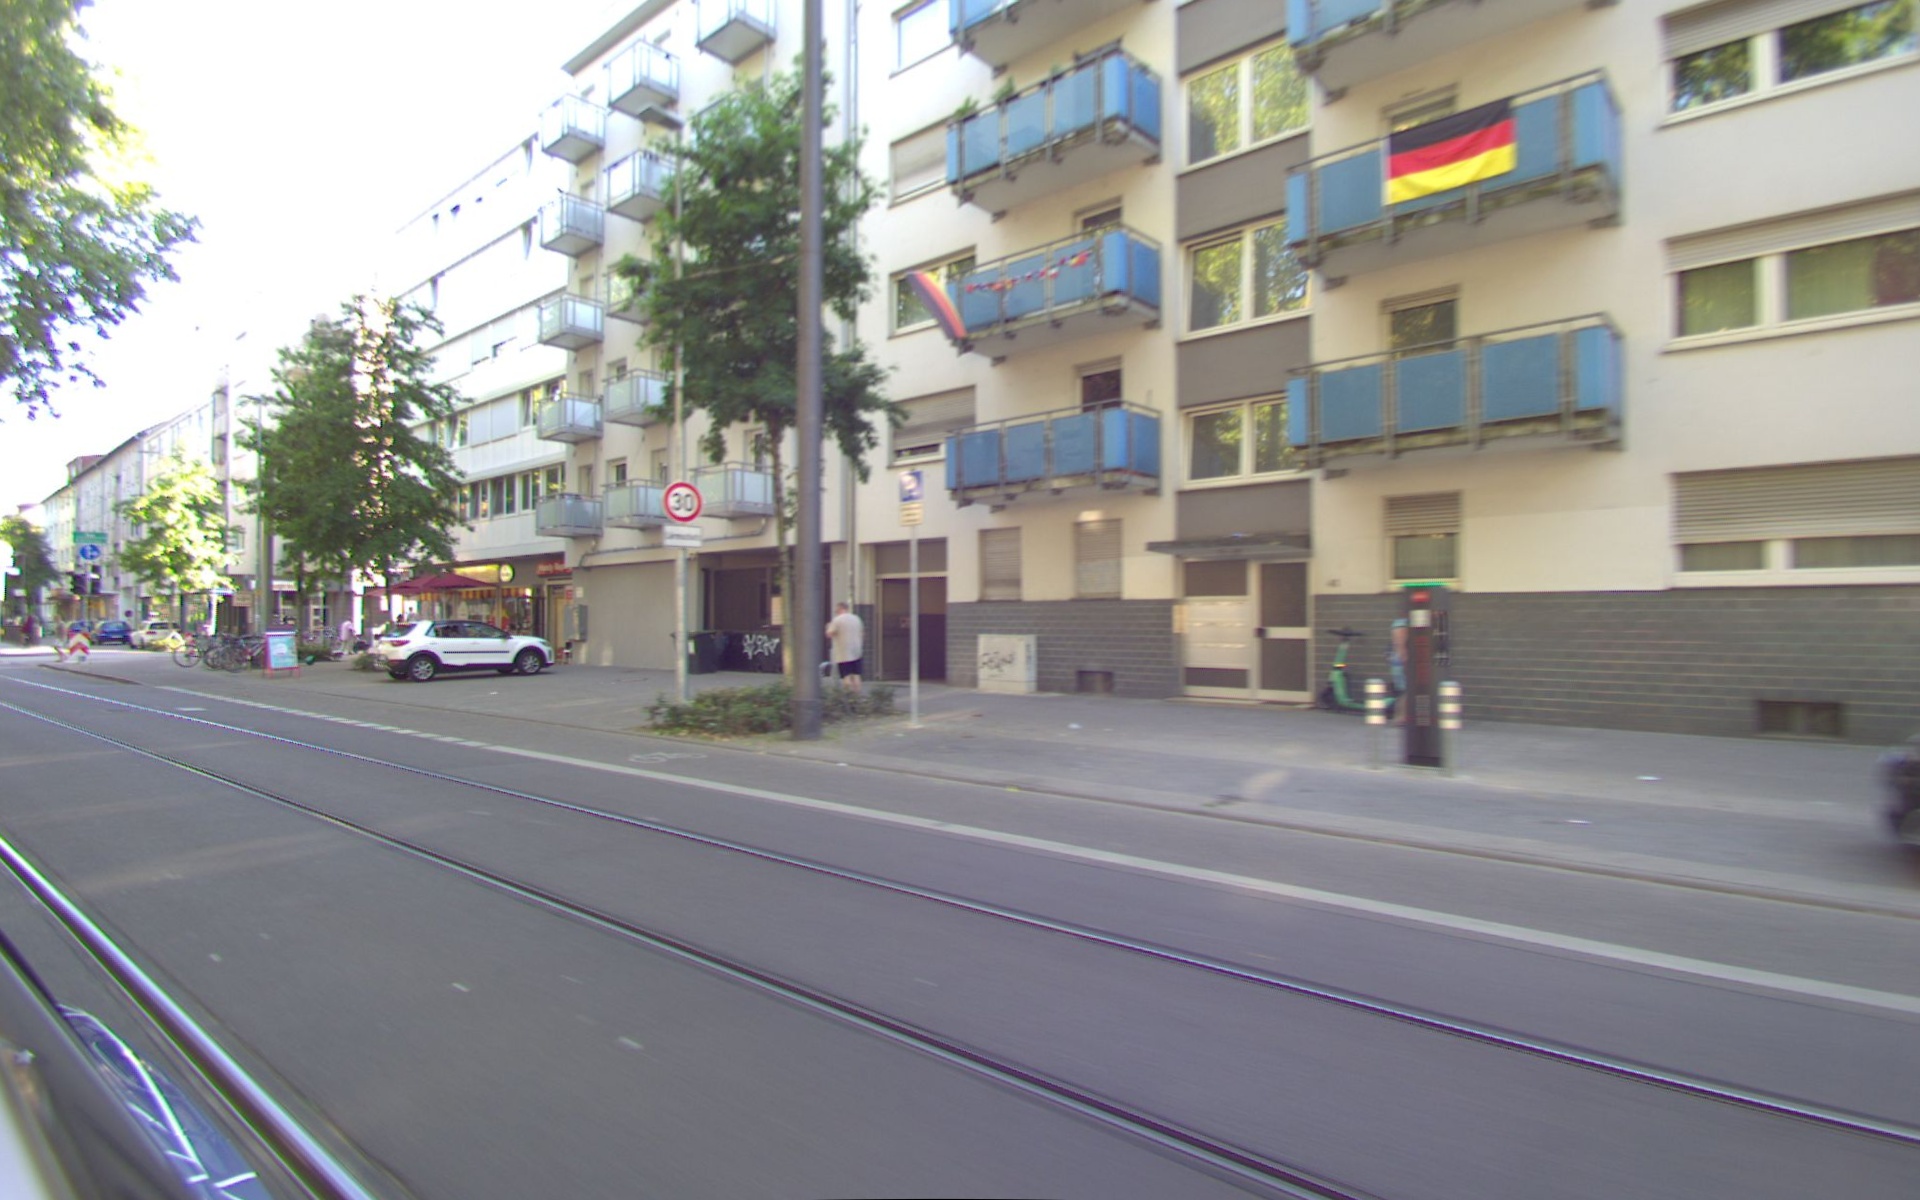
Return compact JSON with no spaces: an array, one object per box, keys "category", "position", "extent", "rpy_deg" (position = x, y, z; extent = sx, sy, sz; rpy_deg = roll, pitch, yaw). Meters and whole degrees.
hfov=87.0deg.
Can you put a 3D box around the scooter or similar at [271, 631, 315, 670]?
[{"category":"scooter or similar","position":[-20.933,1.581,31.766],"extent":[0.498,1.185,1.068],"rpy_deg":[-1,-1,40]}]

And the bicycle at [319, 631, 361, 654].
[{"category":"bicycle","position":[-31.365,2.138,51.186],"extent":[1.760,1.165,0.573],"rpy_deg":[2,-2,-37]}]

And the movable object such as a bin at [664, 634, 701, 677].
[{"category":"movable object such as a bin","position":[-6.885,1.369,25.103],"extent":[0.622,1.063,0.670],"rpy_deg":[-2,-3,43]}]

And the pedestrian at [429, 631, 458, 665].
[{"category":"pedestrian","position":[-18.433,1.709,36.101],"extent":[0.684,1.207,0.601],"rpy_deg":[0,-2,7]}]

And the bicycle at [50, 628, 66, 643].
[{"category":"bicycle","position":[-75.142,2.957,84.320],"extent":[2.034,1.165,0.565],"rpy_deg":[-1,-3,37]}]

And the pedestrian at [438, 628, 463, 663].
[{"category":"pedestrian","position":[-17.847,1.581,35.460],"extent":[0.558,1.207,0.511],"rpy_deg":[0,-2,13]}]

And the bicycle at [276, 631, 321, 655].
[{"category":"bicycle","position":[-32.339,2.102,49.485],"extent":[1.759,1.165,0.574],"rpy_deg":[1,-2,-17]}]

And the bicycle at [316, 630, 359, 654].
[{"category":"bicycle","position":[-31.820,2.137,51.746],"extent":[0.571,1.165,1.768],"rpy_deg":[-1,-2,35]}]

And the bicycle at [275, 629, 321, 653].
[{"category":"bicycle","position":[-32.857,2.015,50.264],"extent":[1.836,1.165,0.572],"rpy_deg":[2,-3,-44]}]

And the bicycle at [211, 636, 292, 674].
[{"category":"bicycle","position":[-20.579,1.588,29.416],"extent":[0.657,1.015,1.812],"rpy_deg":[-1,-1,37]}]

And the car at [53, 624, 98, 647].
[{"category":"car","position":[-59.770,2.404,68.389],"extent":[4.281,1.475,1.775],"rpy_deg":[-1,-3,42]}]

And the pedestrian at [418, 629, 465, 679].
[{"category":"pedestrian","position":[-13.864,1.428,27.072],"extent":[0.907,1.307,0.707],"rpy_deg":[-1,-2,28]}]

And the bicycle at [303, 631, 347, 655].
[{"category":"bicycle","position":[-31.466,2.117,50.185],"extent":[1.759,1.165,0.574],"rpy_deg":[1,-2,-17]}]

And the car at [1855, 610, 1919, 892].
[{"category":"car","position":[7.325,0.808,5.113],"extent":[3.991,1.475,1.699],"rpy_deg":[-1,1,35]}]

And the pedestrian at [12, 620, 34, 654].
[{"category":"pedestrian","position":[-44.488,1.744,48.054],"extent":[0.772,1.597,0.647],"rpy_deg":[-1,-2,42]}]

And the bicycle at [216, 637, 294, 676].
[{"category":"bicycle","position":[-19.722,1.555,28.345],"extent":[0.657,1.015,1.675],"rpy_deg":[-1,-1,37]}]

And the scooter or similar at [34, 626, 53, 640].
[{"category":"scooter or similar","position":[-77.959,2.796,86.063],"extent":[1.259,1.183,0.445],"rpy_deg":[0,-2,6]}]

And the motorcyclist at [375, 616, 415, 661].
[{"category":"motorcyclist","position":[-18.842,1.279,33.751],"extent":[1.016,1.452,0.863],"rpy_deg":[-2,-3,44]}]

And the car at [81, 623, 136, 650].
[{"category":"car","position":[-51.322,2.176,61.000],"extent":[4.388,1.556,1.935],"rpy_deg":[-1,-3,42]}]

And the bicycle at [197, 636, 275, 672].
[{"category":"bicycle","position":[-21.879,1.607,30.629],"extent":[0.657,1.015,1.812],"rpy_deg":[-1,-1,37]}]

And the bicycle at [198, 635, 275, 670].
[{"category":"bicycle","position":[-22.146,1.591,30.993],"extent":[0.657,1.015,1.812],"rpy_deg":[-1,-1,37]}]

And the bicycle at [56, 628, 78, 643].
[{"category":"bicycle","position":[-72.132,2.843,81.743],"extent":[2.020,1.165,0.555],"rpy_deg":[-1,-2,27]}]

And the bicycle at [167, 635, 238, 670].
[{"category":"bicycle","position":[-23.616,1.623,31.570],"extent":[0.657,1.015,1.675],"rpy_deg":[-1,-1,37]}]

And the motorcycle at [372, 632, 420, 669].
[{"category":"motorcycle","position":[-18.795,1.672,33.711],"extent":[1.915,1.173,0.839],"rpy_deg":[-2,-3,44]}]

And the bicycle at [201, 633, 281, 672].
[{"category":"bicycle","position":[-21.226,1.546,29.912],"extent":[0.657,1.072,1.812],"rpy_deg":[-1,-1,37]}]

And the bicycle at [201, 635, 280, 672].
[{"category":"bicycle","position":[-21.422,1.580,30.172],"extent":[0.657,1.015,1.812],"rpy_deg":[-1,-1,37]}]

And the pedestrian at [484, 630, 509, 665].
[{"category":"pedestrian","position":[-16.169,1.657,35.301],"extent":[0.624,1.207,0.556],"rpy_deg":[-2,-3,41]}]

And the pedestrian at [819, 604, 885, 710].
[{"category":"pedestrian","position":[-1.789,0.930,16.816],"extent":[0.794,1.704,0.756],"rpy_deg":[-1,-2,40]}]

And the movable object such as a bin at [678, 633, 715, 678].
[{"category":"movable object such as a bin","position":[-6.413,1.350,24.671],"extent":[0.574,1.063,0.665],"rpy_deg":[-2,-3,43]}]

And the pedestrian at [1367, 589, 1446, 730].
[{"category":"pedestrian","position":[5.620,0.737,12.741],"extent":[0.748,1.704,0.657],"rpy_deg":[-1,-2,40]}]

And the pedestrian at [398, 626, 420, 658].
[{"category":"pedestrian","position":[-20.752,1.572,38.116],"extent":[0.560,1.207,0.509],"rpy_deg":[-1,-2,26]}]

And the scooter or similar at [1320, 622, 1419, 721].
[{"category":"scooter or similar","position":[5.637,0.969,13.979],"extent":[0.370,1.299,1.239],"rpy_deg":[4,-4,-40]}]

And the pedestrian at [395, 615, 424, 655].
[{"category":"pedestrian","position":[-23.141,1.468,42.524],"extent":[0.745,1.672,0.762],"rpy_deg":[-1,-2,25]}]

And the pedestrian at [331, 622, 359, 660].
[{"category":"pedestrian","position":[-25.458,1.700,41.870],"extent":[0.767,1.568,0.718],"rpy_deg":[-1,-3,36]}]

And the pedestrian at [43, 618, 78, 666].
[{"category":"pedestrian","position":[-32.532,1.519,36.611],"extent":[0.767,1.684,0.750],"rpy_deg":[-1,-3,36]}]

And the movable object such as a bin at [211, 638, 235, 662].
[{"category":"movable object such as a bin","position":[-29.855,2.017,41.014],"extent":[0.646,0.939,0.536],"rpy_deg":[-1,-2,25]}]

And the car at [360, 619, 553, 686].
[{"category":"car","position":[-12.549,1.247,25.391],"extent":[1.852,1.486,3.967],"rpy_deg":[-1,-1,44]}]

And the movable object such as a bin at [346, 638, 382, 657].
[{"category":"movable object such as a bin","position":[-25.354,2.029,43.095],"extent":[0.661,0.763,1.188],"rpy_deg":[0,-1,20]}]

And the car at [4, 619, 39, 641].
[{"category":"car","position":[-84.550,2.683,91.151],"extent":[4.047,1.949,1.785],"rpy_deg":[-1,-3,41]}]

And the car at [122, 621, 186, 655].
[{"category":"car","position":[-42.240,1.947,53.007],"extent":[4.356,1.663,1.858],"rpy_deg":[-1,0,41]}]
